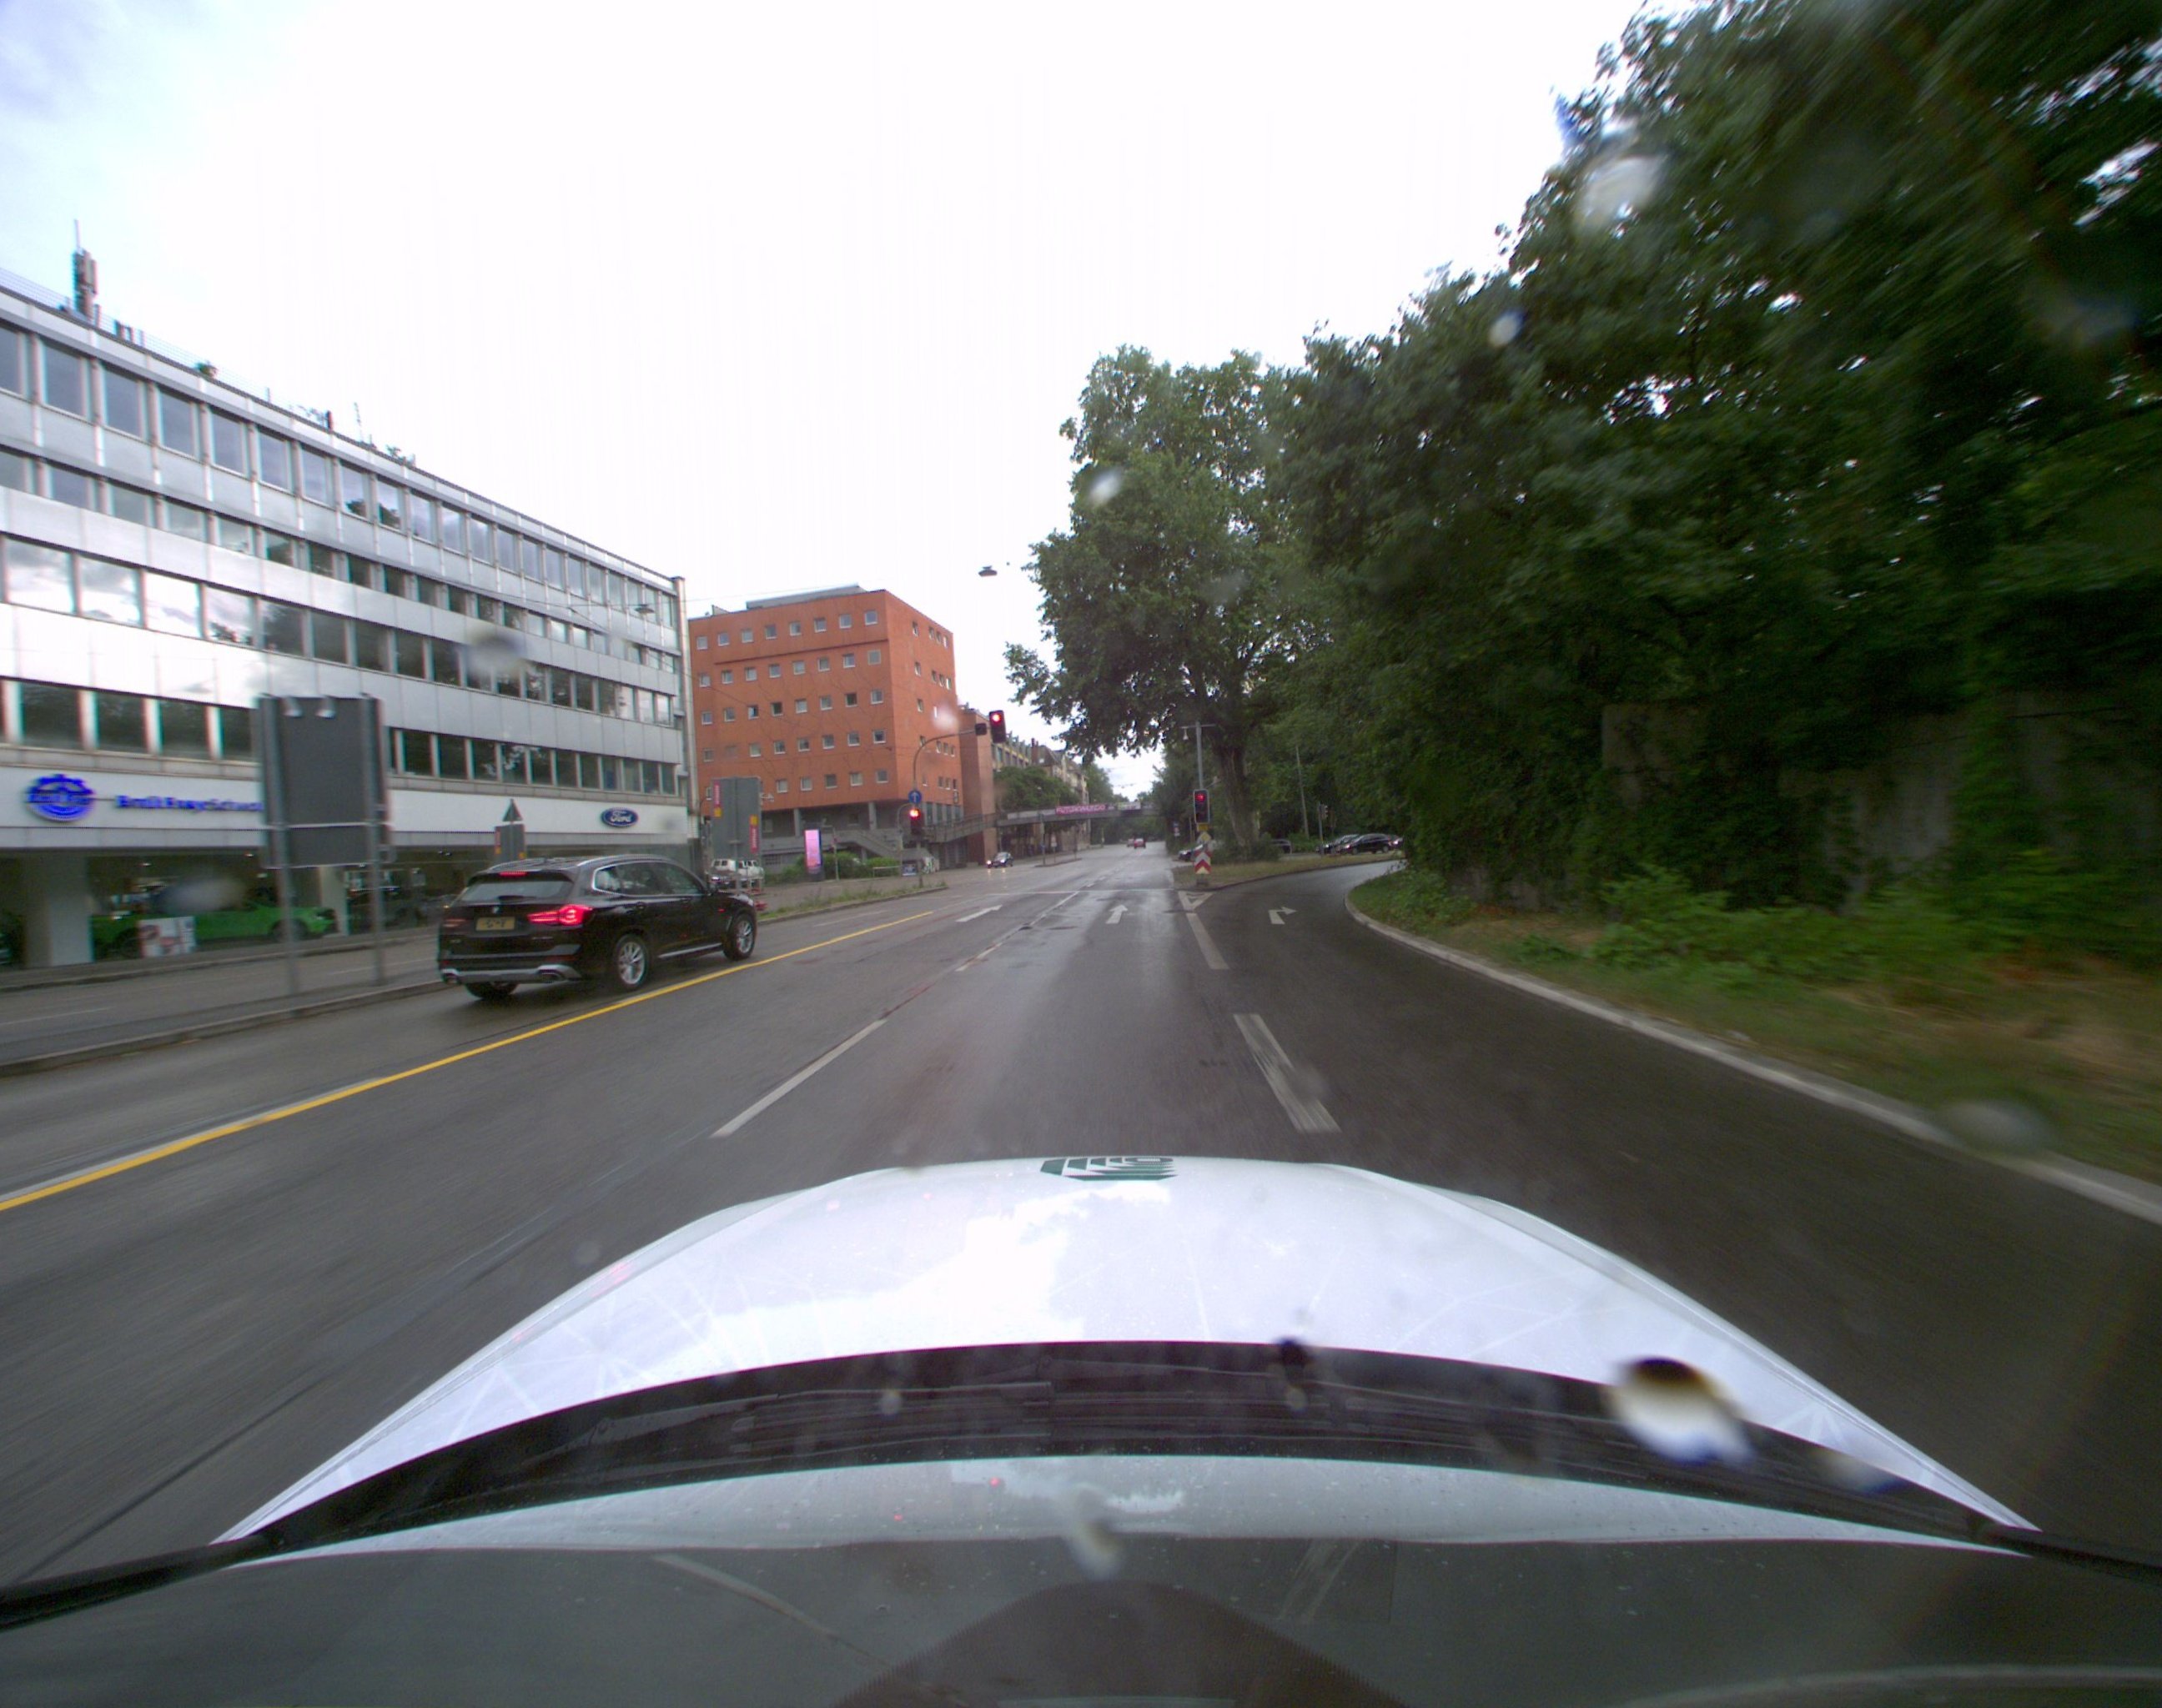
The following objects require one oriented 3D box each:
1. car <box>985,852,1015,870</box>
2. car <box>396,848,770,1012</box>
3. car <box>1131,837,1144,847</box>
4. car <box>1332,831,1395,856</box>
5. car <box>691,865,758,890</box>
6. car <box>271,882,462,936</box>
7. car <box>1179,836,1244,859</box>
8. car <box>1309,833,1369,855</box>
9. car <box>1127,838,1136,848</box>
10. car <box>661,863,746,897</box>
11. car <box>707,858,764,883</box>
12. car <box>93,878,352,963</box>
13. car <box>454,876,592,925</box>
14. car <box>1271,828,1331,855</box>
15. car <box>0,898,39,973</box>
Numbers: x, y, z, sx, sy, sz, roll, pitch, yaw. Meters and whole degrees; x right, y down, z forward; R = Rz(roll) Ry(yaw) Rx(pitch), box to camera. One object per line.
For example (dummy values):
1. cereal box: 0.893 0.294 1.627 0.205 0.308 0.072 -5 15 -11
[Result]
1. car: -7.465 0.619 75.615 1.984 1.519 4.006 -4 0 5
2. car: -6.170 0.793 10.959 1.940 1.597 4.673 -2 1 2
3. car: 10.014 -2.155 144.001 2.112 1.734 4.201 -2 1 2
4. car: 20.042 -0.744 57.822 3.855 1.485 1.666 -3 0 -11
5. car: -25.635 1.682 58.592 4.108 1.446 1.590 -5 0 12
6. car: -27.736 2.099 31.795 5.190 1.520 1.993 -5 0 -10
7. car: 9.946 -0.489 62.260 4.593 1.451 1.772 -4 0 -3
8. car: 19.594 -0.736 61.865 3.995 1.486 1.869 -3 0 -16
9. car: 10.492 -2.263 168.378 1.755 1.696 3.710 -5 0 4
10. car: -26.160 1.800 56.455 5.041 1.845 2.007 -6 -1 13
11. car: -29.343 1.355 69.340 1.981 2.013 4.867 1 0 11
12. car: -27.103 2.039 26.038 5.223 2.011 1.980 -5 0 -30
13. car: -25.694 2.112 37.670 4.750 1.738 1.996 -5 0 -5
14. car: 18.668 -1.028 69.272 4.334 1.835 2.131 -5 0 -7
15. car: -29.692 2.278 19.752 5.014 1.897 1.977 -5 0 -39
